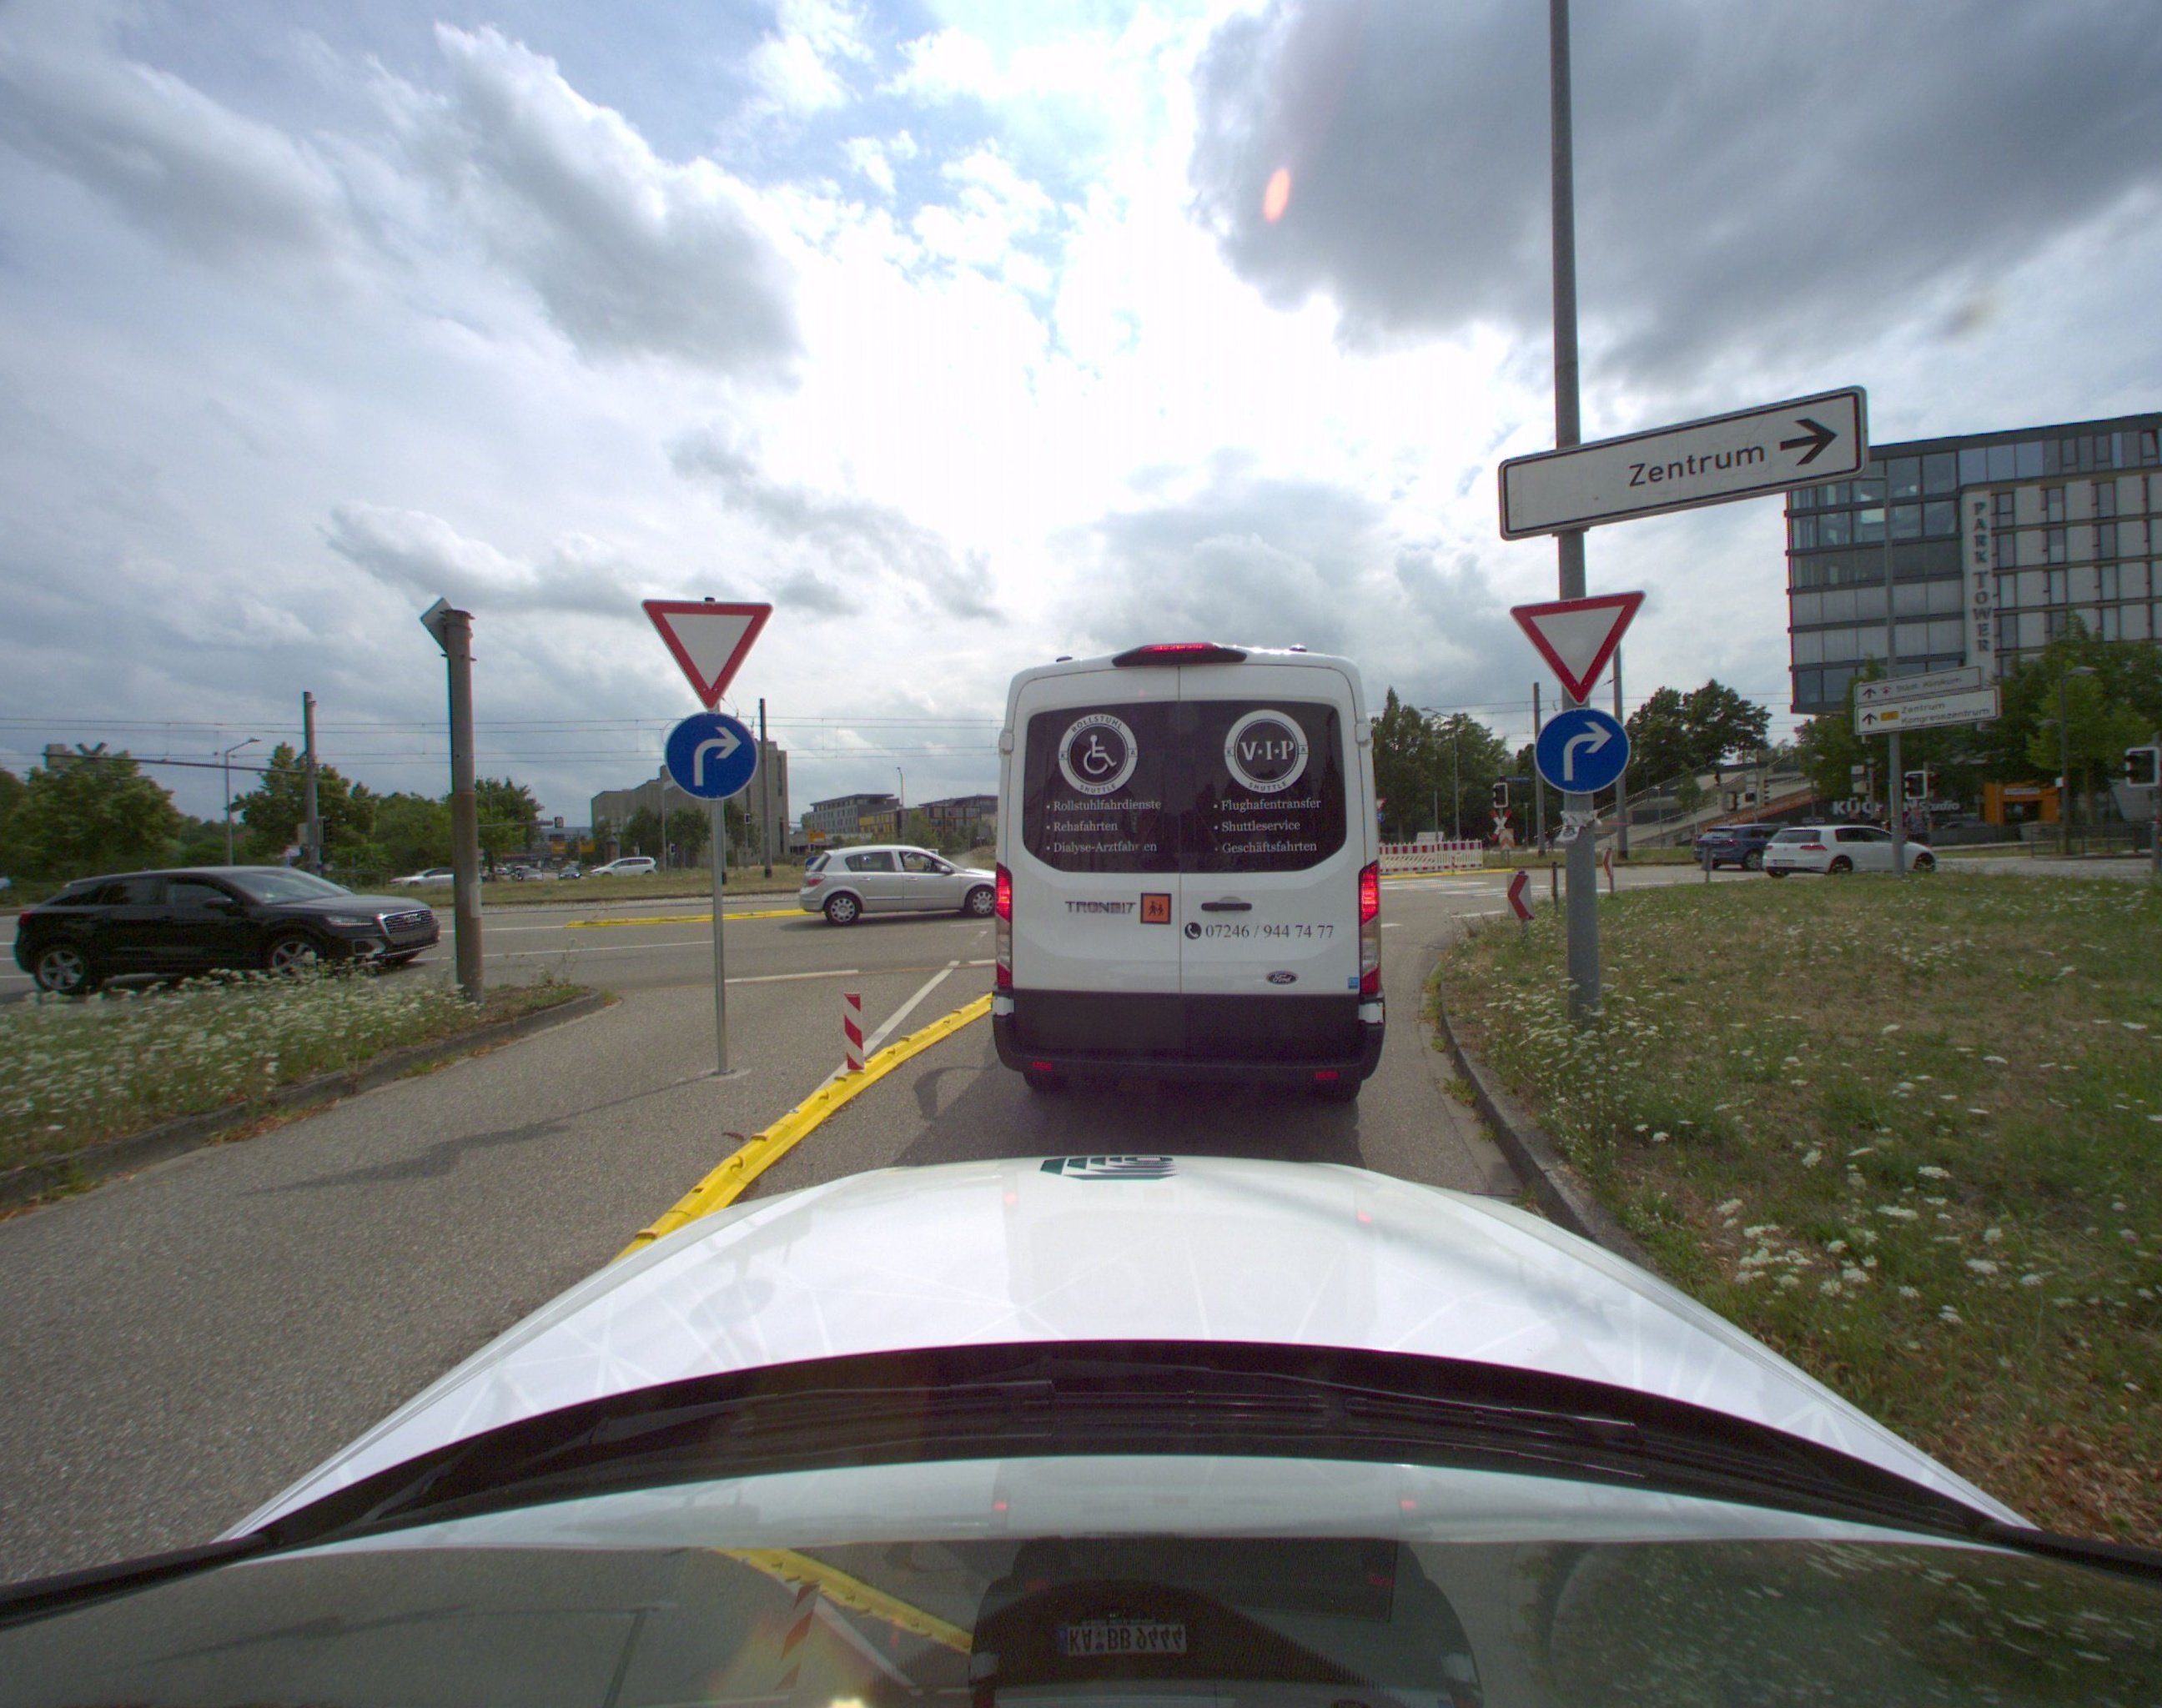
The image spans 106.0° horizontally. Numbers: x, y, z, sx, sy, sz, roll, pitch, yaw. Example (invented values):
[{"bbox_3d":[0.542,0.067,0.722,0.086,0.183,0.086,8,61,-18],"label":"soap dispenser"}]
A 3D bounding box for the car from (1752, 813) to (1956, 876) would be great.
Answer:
[{"bbox_3d":[20.771,-0.273,21.948,4.245,1.497,1.796,-2,1,-9],"label":"car"}]

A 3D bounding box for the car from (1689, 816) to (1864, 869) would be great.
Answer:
[{"bbox_3d":[22.019,-0.352,25.889,4.093,1.497,1.800,-2,1,-2],"label":"car"}]

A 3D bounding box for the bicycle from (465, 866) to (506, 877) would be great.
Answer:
[{"bbox_3d":[-51.092,1.483,69.877,0.853,0.855,2.676,-2,1,36],"label":"bicycle"}]

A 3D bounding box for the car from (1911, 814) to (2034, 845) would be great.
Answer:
[{"bbox_3d":[46.478,-1.249,42.555,3.958,1.458,1.856,-1,1,14],"label":"car"}]

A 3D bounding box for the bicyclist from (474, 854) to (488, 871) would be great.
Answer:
[{"bbox_3d":[-51.271,0.765,69.618,0.853,1.409,0.678,-2,0,36],"label":"bicyclist"}]

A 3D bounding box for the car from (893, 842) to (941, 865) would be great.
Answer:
[{"bbox_3d":[-15.463,-0.044,76.762,4.351,2.014,1.991,-1,-1,-13],"label":"car"}]

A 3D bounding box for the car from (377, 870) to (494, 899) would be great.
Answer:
[{"bbox_3d":[-39.636,1.835,50.160,1.974,1.482,5.217,-2,1,33],"label":"car"}]

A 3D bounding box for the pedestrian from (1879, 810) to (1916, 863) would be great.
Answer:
[{"bbox_3d":[28.060,-0.590,27.986,0.684,1.781,0.554,-1,1,6],"label":"pedestrian"}]

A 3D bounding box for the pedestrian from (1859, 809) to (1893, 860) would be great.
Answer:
[{"bbox_3d":[28.016,-0.682,28.706,0.628,1.781,0.554,-1,1,6],"label":"pedestrian"}]

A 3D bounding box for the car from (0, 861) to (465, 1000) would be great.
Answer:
[{"bbox_3d":[-11.116,0.934,10.949,4.128,1.519,1.737,-2,1,-7],"label":"car"}]

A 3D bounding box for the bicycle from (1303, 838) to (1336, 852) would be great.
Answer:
[{"bbox_3d":[17.376,-0.633,59.336,2.176,0.938,0.618,-2,-1,39],"label":"bicycle"}]

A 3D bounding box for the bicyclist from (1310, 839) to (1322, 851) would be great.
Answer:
[{"bbox_3d":[17.170,-0.647,59.490,0.650,0.884,0.611,-2,-1,39],"label":"bicyclist"}]

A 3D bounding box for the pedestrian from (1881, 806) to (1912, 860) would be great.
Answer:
[{"bbox_3d":[28.603,-0.724,28.556,0.527,1.862,0.554,-1,1,6],"label":"pedestrian"}]

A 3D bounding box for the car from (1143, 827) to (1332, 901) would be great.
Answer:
[{"bbox_3d":[3.804,0.190,19.558,4.385,1.534,1.716,-2,1,-30],"label":"car"}]

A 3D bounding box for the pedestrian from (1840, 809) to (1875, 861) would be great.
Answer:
[{"bbox_3d":[27.283,-0.667,28.627,0.684,1.781,0.554,-1,1,6],"label":"pedestrian"}]

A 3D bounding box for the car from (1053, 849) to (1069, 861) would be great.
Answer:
[{"bbox_3d":[-2.457,0.112,100.450,1.823,1.463,3.995,-2,0,-3],"label":"car"}]

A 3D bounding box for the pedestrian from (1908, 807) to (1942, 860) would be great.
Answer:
[{"bbox_3d":[28.776,-0.694,27.779,0.575,1.781,0.554,-1,1,6],"label":"pedestrian"}]

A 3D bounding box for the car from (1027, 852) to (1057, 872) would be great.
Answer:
[{"bbox_3d":[-4.183,0.852,87.736,1.978,2.014,4.018,-1,-1,17],"label":"car"}]

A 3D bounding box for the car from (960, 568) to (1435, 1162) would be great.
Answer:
[{"bbox_3d":[0.860,0.056,6.605,2.115,2.697,5.643,-2,0,7],"label":"car"}]

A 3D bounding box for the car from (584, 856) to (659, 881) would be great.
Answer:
[{"bbox_3d":[-33.327,1.027,59.170,1.914,1.665,4.381,-1,0,45],"label":"car"}]

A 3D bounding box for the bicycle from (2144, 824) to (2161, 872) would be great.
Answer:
[{"bbox_3d":[26.852,-0.160,19.806,0.781,1.168,2.054,-2,0,40],"label":"bicycle"}]

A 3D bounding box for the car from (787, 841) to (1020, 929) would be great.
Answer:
[{"bbox_3d":[-3.500,0.540,16.103,4.258,1.462,1.819,-2,1,-19],"label":"car"}]

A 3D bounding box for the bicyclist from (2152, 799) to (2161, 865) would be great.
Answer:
[{"bbox_3d":[26.727,-0.540,19.672,0.781,1.627,1.056,-2,0,40],"label":"bicyclist"}]
